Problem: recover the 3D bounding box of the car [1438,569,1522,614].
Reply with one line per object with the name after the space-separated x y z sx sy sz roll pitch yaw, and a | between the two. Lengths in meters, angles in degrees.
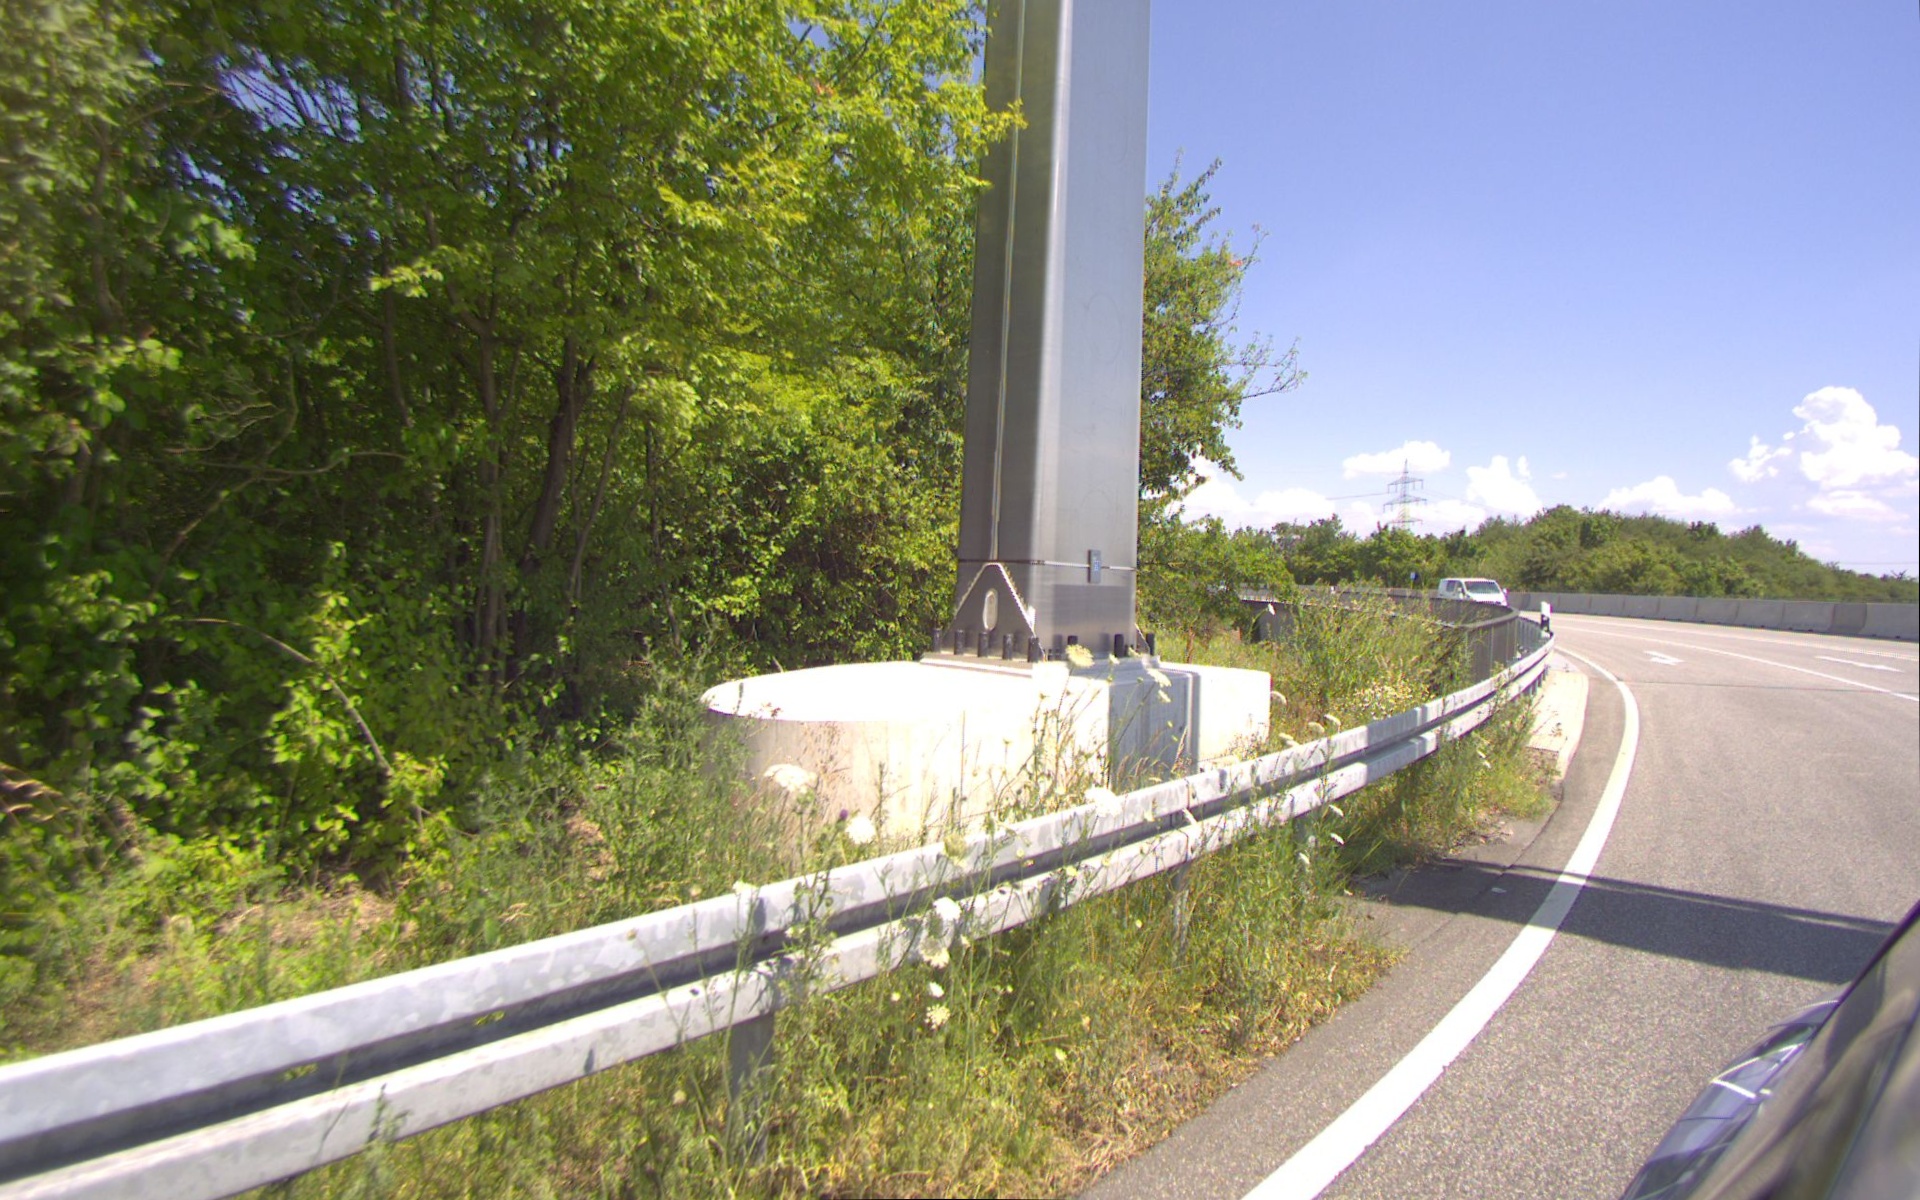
25.688 -0.453 50.259 1.999 2.110 5.856 1 1 10 | car
